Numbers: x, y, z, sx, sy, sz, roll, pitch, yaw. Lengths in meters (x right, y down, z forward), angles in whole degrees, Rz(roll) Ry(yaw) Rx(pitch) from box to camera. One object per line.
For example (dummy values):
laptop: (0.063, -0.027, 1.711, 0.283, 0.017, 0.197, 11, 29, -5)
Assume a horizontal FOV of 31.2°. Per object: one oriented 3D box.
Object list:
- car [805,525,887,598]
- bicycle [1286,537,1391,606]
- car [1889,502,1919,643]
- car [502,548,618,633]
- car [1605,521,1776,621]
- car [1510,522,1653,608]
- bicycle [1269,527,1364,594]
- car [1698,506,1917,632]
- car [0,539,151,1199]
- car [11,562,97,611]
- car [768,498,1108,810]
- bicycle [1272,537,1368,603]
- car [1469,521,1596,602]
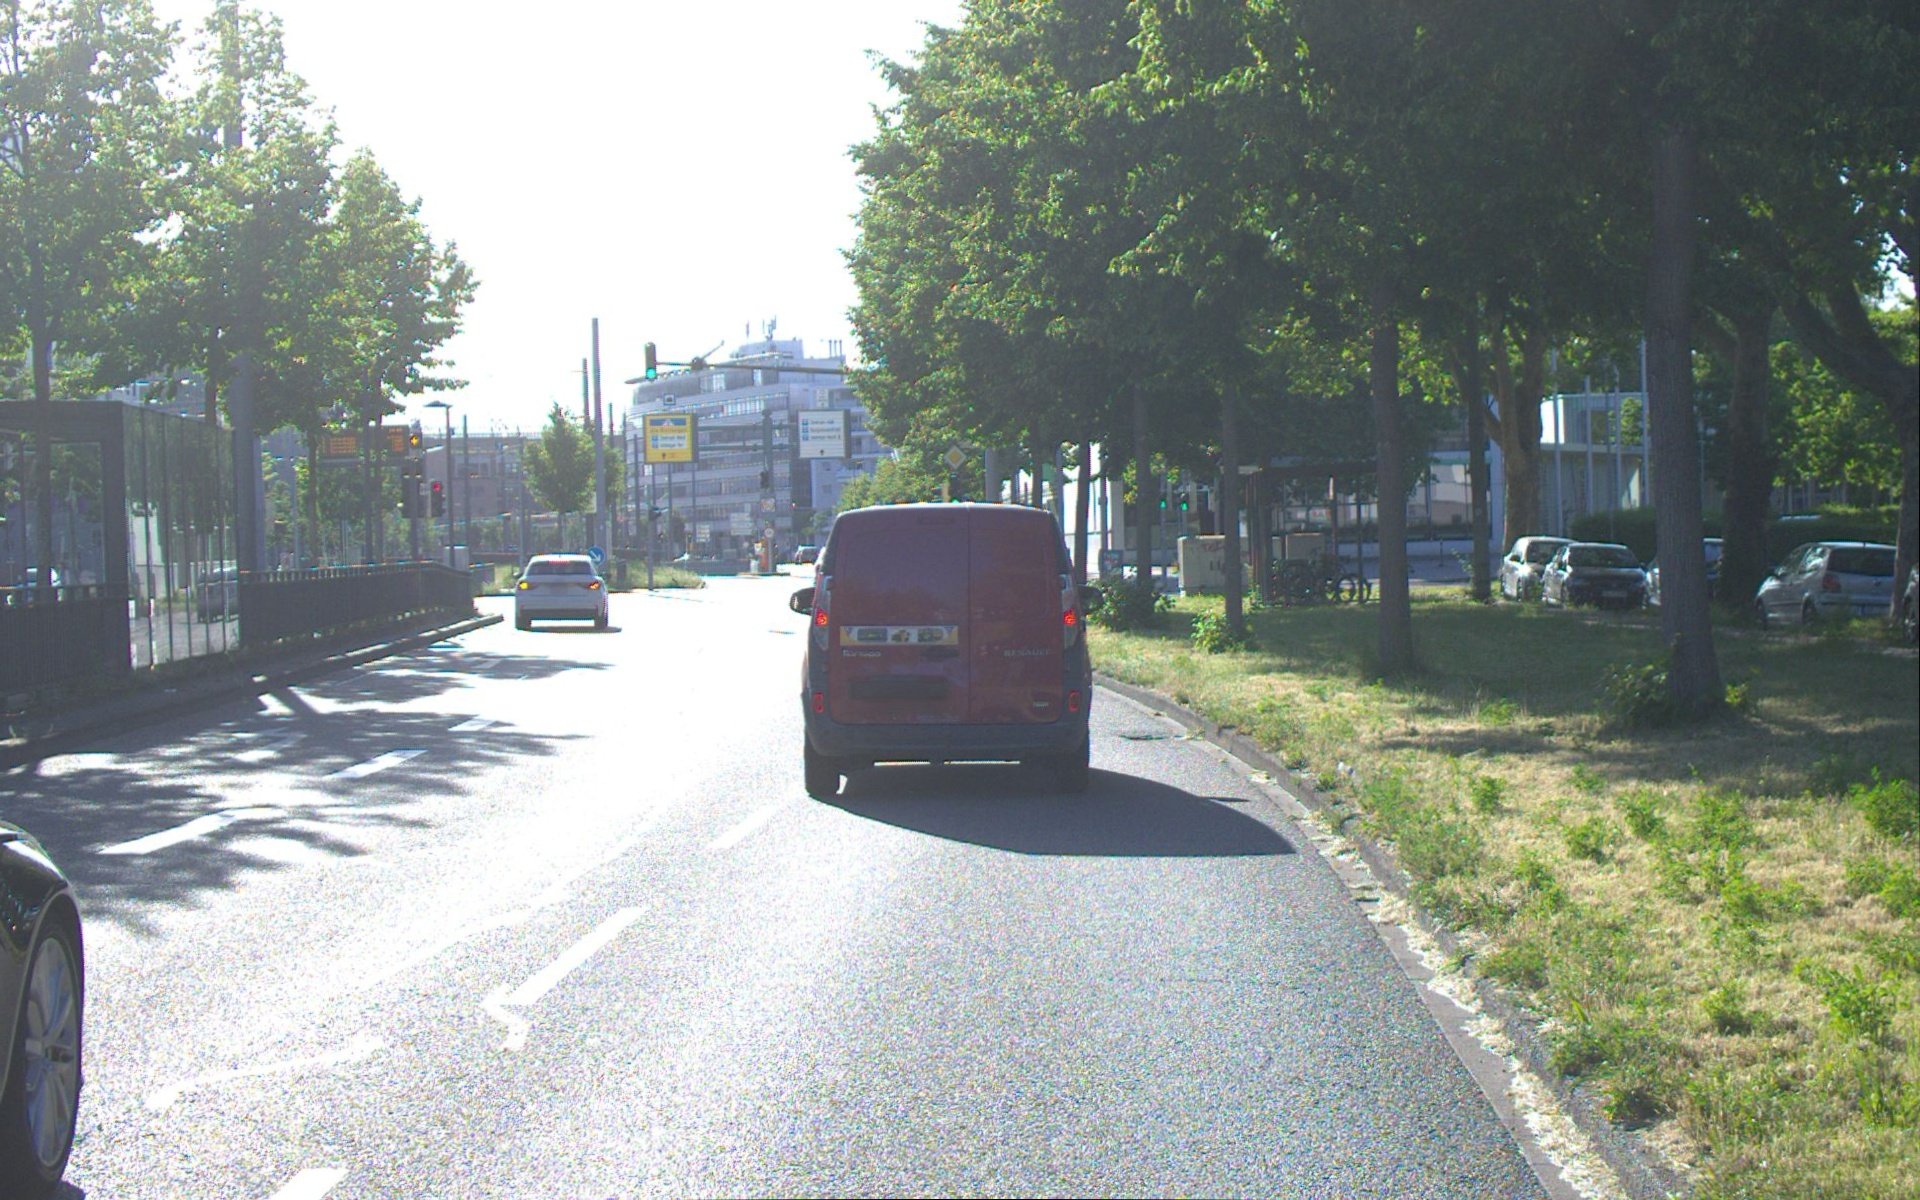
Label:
car: (-3.272, -1.112, 98.878, 2.269, 2.007, 4.710, -1, 1, -2)
bicycle: (7.193, -0.542, 65.364, 1.917, 1.264, 0.479, -1, 1, -2)
car: (12.341, -0.322, 40.257, 1.871, 1.678, 4.000, 0, 1, 1)
car: (-7.767, -0.204, 67.094, 1.993, 1.612, 4.000, 0, 1, -3)
car: (12.656, -0.513, 59.797, 1.871, 1.678, 4.001, 0, 1, -4)
car: (12.415, -0.703, 68.910, 1.871, 1.678, 4.001, 0, 1, -4)
bicycle: (6.984, -0.777, 67.365, 1.778, 1.264, 0.479, -1, 1, -2)
car: (12.218, -0.454, 49.811, 1.871, 1.678, 4.001, -2, 1, -4)
car: (-2.960, 0.638, 6.107, 1.952, 1.475, 5.085, 0, 1, -1)
car: (-32.866, -0.510, 124.792, 1.993, 1.758, 4.000, 0, 0, 1)
car: (-0.234, 0.298, 22.284, 1.808, 1.831, 4.001, 0, 0, -6)
bicycle: (6.929, -0.569, 66.229, 1.778, 1.264, 0.479, 0, 0, -2)
car: (12.185, -0.815, 73.424, 1.871, 1.678, 4.000, 0, 1, -3)
